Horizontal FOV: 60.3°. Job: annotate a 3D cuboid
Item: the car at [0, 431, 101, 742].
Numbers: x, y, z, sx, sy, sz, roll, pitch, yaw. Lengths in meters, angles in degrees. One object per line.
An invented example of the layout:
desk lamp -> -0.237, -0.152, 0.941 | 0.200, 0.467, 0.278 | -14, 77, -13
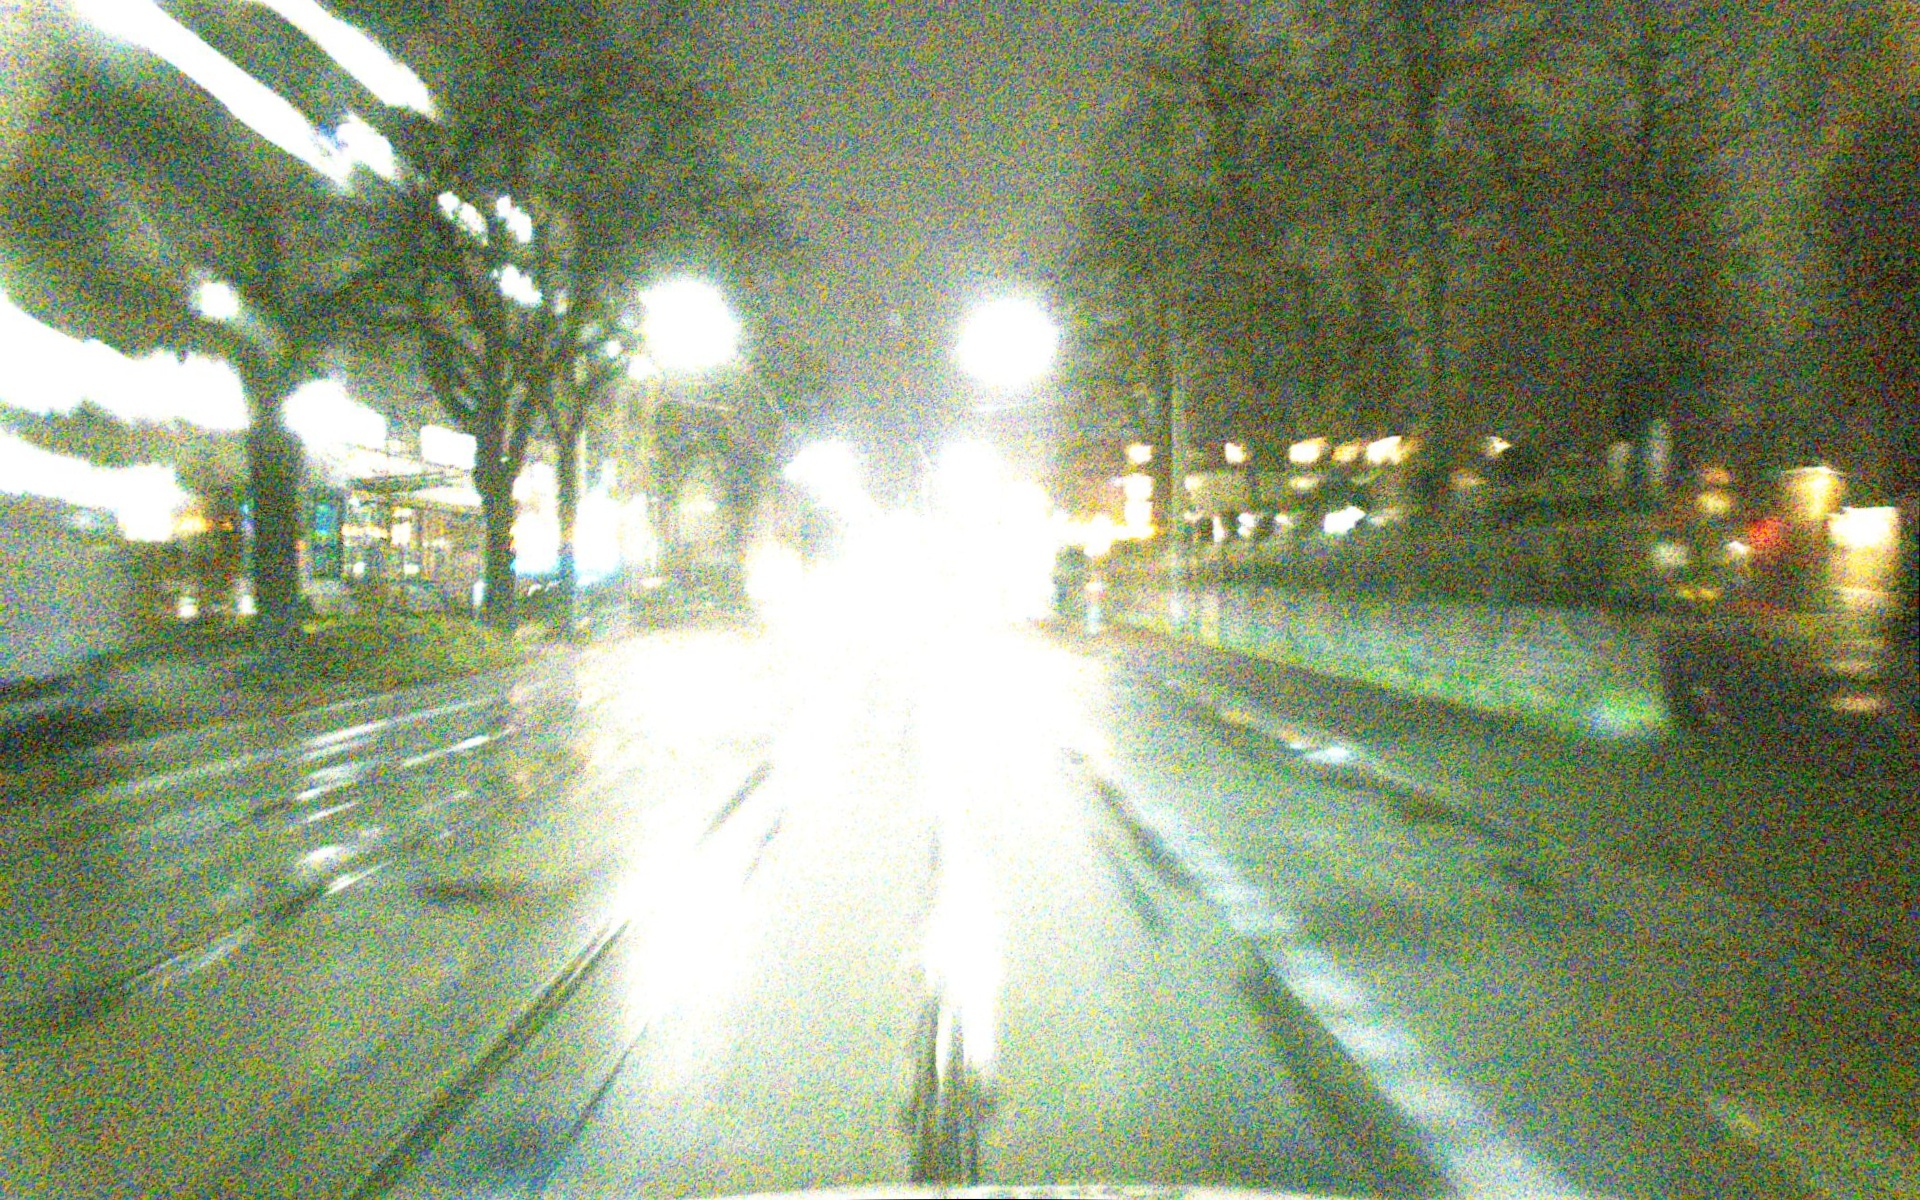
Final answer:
car -> -9.265, -0.103, 12.420 | 2.140, 2.637, 6.393 | 1, 1, 1

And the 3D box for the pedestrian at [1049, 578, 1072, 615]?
pedestrian -> 4.696, -0.157, 77.404 | 0.921, 1.693, 0.993 | -2, 0, -5

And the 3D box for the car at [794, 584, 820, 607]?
car -> -14.008, -0.428, 151.694 | 1.953, 2.049, 4.000 | 1, 0, 0

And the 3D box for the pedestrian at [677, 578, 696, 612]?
pedestrian -> -13.901, -0.265, 84.104 | 0.770, 1.716, 0.882 | 1, 0, -1

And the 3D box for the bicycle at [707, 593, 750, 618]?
bicycle -> -10.363, 0.227, 74.118 | 1.816, 1.096, 0.627 | 1, 0, -1

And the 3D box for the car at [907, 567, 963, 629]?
car -> -1.048, -0.089, 67.537 | 2.199, 2.402, 4.392 | 1, 0, -2
